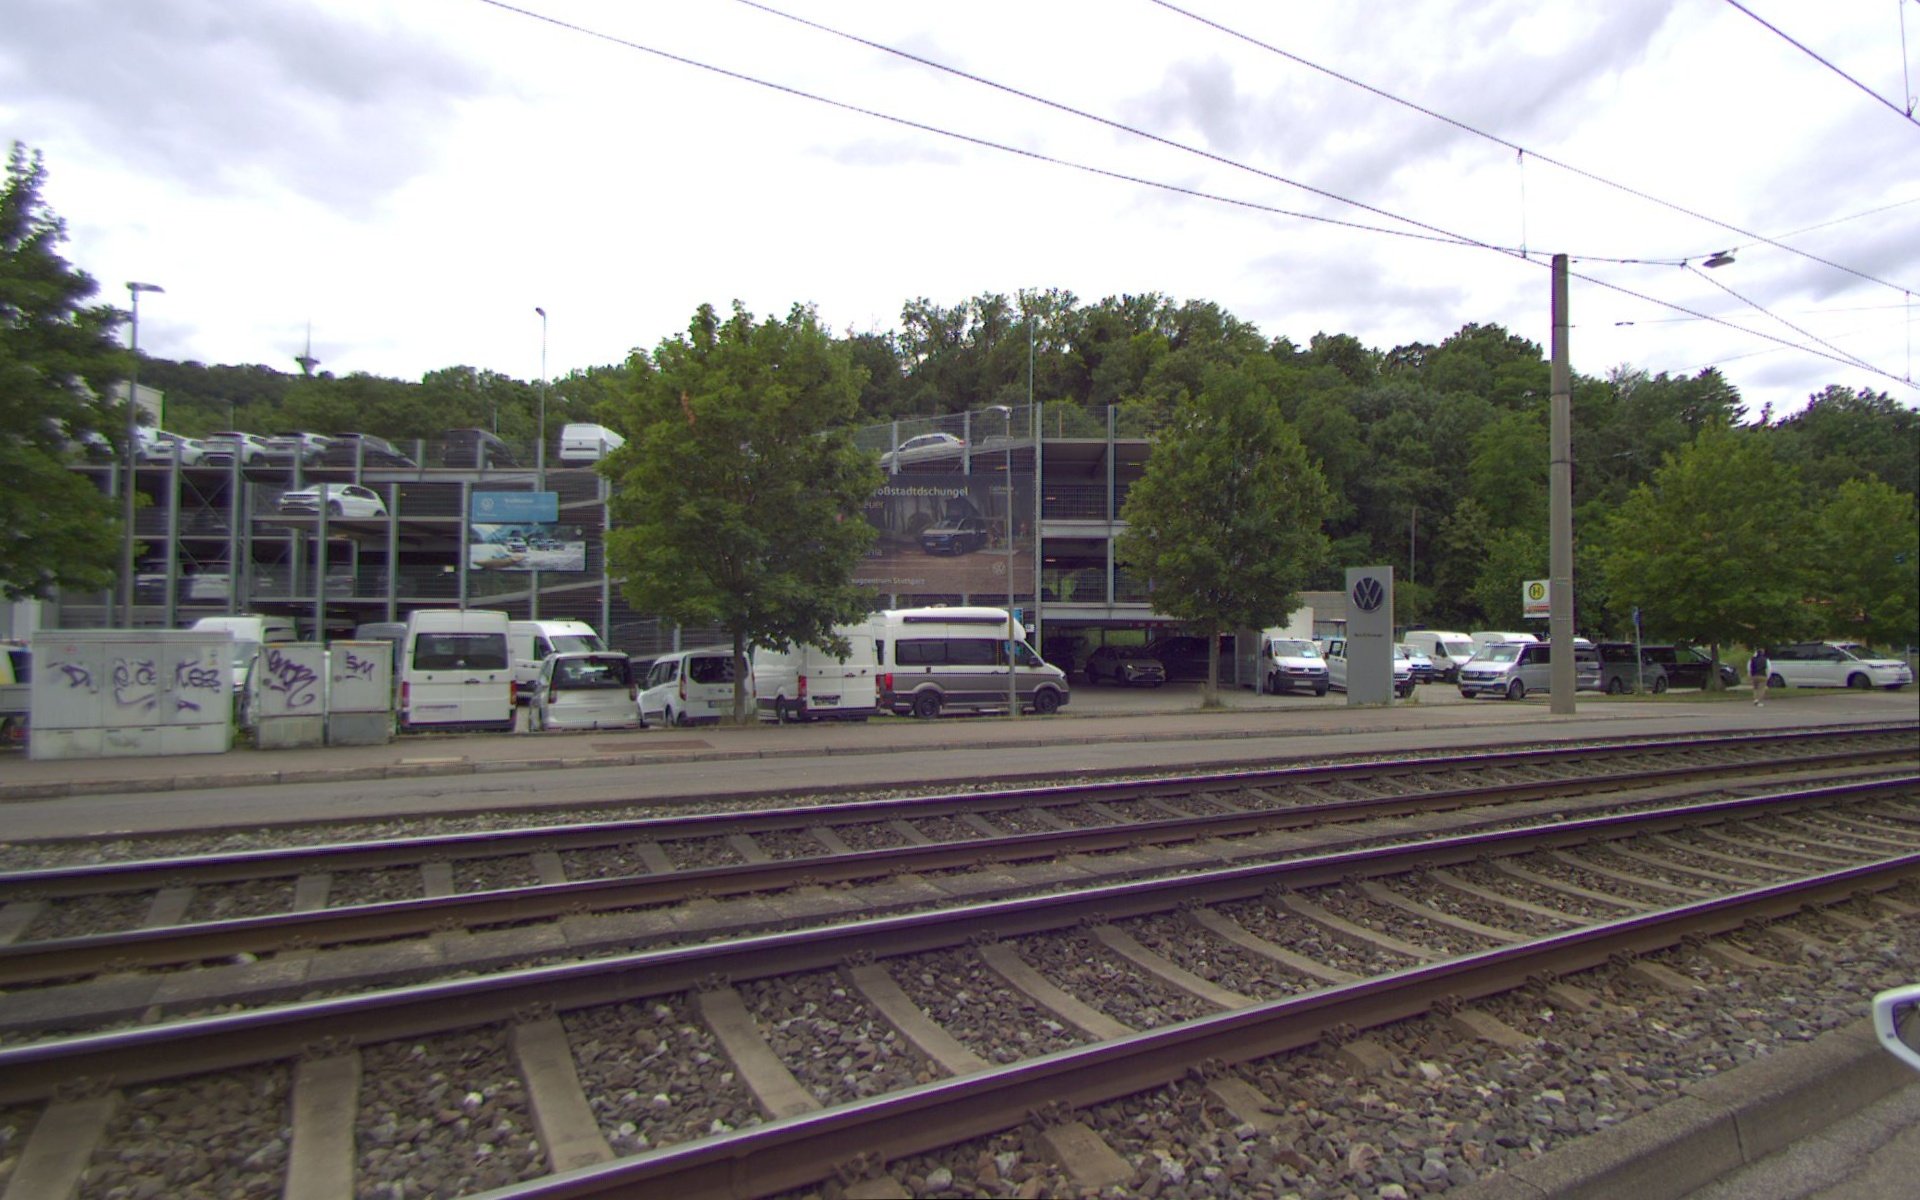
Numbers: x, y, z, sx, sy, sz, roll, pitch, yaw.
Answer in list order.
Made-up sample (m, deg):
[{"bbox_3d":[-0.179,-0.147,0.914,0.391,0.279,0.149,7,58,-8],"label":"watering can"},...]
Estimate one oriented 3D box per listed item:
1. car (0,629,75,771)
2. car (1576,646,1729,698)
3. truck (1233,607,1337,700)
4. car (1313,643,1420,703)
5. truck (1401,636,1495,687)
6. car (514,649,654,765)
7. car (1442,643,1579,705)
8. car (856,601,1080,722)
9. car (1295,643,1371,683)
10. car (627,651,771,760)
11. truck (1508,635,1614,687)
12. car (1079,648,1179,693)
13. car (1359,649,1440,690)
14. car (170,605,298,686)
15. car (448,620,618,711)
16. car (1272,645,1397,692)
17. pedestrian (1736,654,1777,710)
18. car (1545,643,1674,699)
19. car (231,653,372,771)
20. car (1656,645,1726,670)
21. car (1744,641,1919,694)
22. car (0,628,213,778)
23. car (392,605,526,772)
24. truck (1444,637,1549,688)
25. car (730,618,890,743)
[{"bbox_3d":[-16.825,1.601,16.955,1.981,2.201,4.345,2,-3,-31],"label":"car"},{"bbox_3d":[28.931,2.976,42.209,4.978,2.040,2.165,-1,-3,26],"label":"car"},{"bbox_3d":[11.710,1.956,36.669,2.077,3.125,5.942,0,-3,2],"label":"truck"},{"bbox_3d":[14.580,2.594,36.367,1.960,2.040,4.732,0,-3,0],"label":"car"},{"bbox_3d":[25.973,3.267,53.693,2.420,2.621,5.073,0,-3,-2],"label":"truck"},{"bbox_3d":[-7.963,2.110,21.022,1.981,2.133,4.345,2,-3,-31],"label":"car"},{"bbox_3d":[19.413,2.561,35.376,4.860,2.040,1.985,2,-3,-30],"label":"car"},{"bbox_3d":[0.263,1.674,27.640,5.857,3.058,2.102,2,-3,-26],"label":"car"},{"bbox_3d":[19.950,3.357,53.900,1.945,2.040,4.260,1,-3,-10],"label":"car"},{"bbox_3d":[-5.921,2.233,22.438,1.981,2.133,4.345,2,-3,-31],"label":"car"},{"bbox_3d":[31.901,3.227,53.531,2.420,2.621,5.073,0,-3,-2],"label":"truck"},{"bbox_3d":[6.454,2.668,38.738,1.971,1.639,4.114,1,-3,-22],"label":"car"},{"bbox_3d":[22.789,3.561,52.220,1.964,2.040,3.994,1,-3,-10],"label":"car"},{"bbox_3d":[-20.237,1.300,28.238,1.973,2.040,4.830,2,-3,-25],"label":"car"},{"bbox_3d":[-13.417,1.989,31.405,5.853,2.636,1.999,-1,-3,34],"label":"car"},{"bbox_3d":[15.292,2.780,41.155,4.380,1.855,2.001,0,-3,-1],"label":"car"},{"bbox_3d":[24.813,2.538,31.299,1.032,1.678,0.713,2,0,-35],"label":"pedestrian"},{"bbox_3d":[24.870,2.683,38.431,5.068,2.040,1.985,2,-3,-29],"label":"car"},{"bbox_3d":[-12.366,1.992,19.117,1.981,1.935,4.345,2,-3,-31],"label":"car"},{"bbox_3d":[60.971,4.790,83.843,4.314,2.040,2.001,1,-2,4],"label":"car"},{"bbox_3d":[34.833,2.650,40.344,2.129,1.912,5.061,3,-3,-13],"label":"car"},{"bbox_3d":[-14.311,1.622,17.141,1.981,2.201,4.345,2,-3,-31],"label":"car"},{"bbox_3d":[-9.856,1.630,19.596,1.981,2.856,4.345,2,-3,-31],"label":"car"},{"bbox_3d":[29.012,3.379,54.555,2.420,2.621,5.779,0,-3,-2],"label":"truck"},{"bbox_3d":[-3.764,1.849,24.205,2.218,2.636,5.454,2,-3,-27],"label":"car"}]
